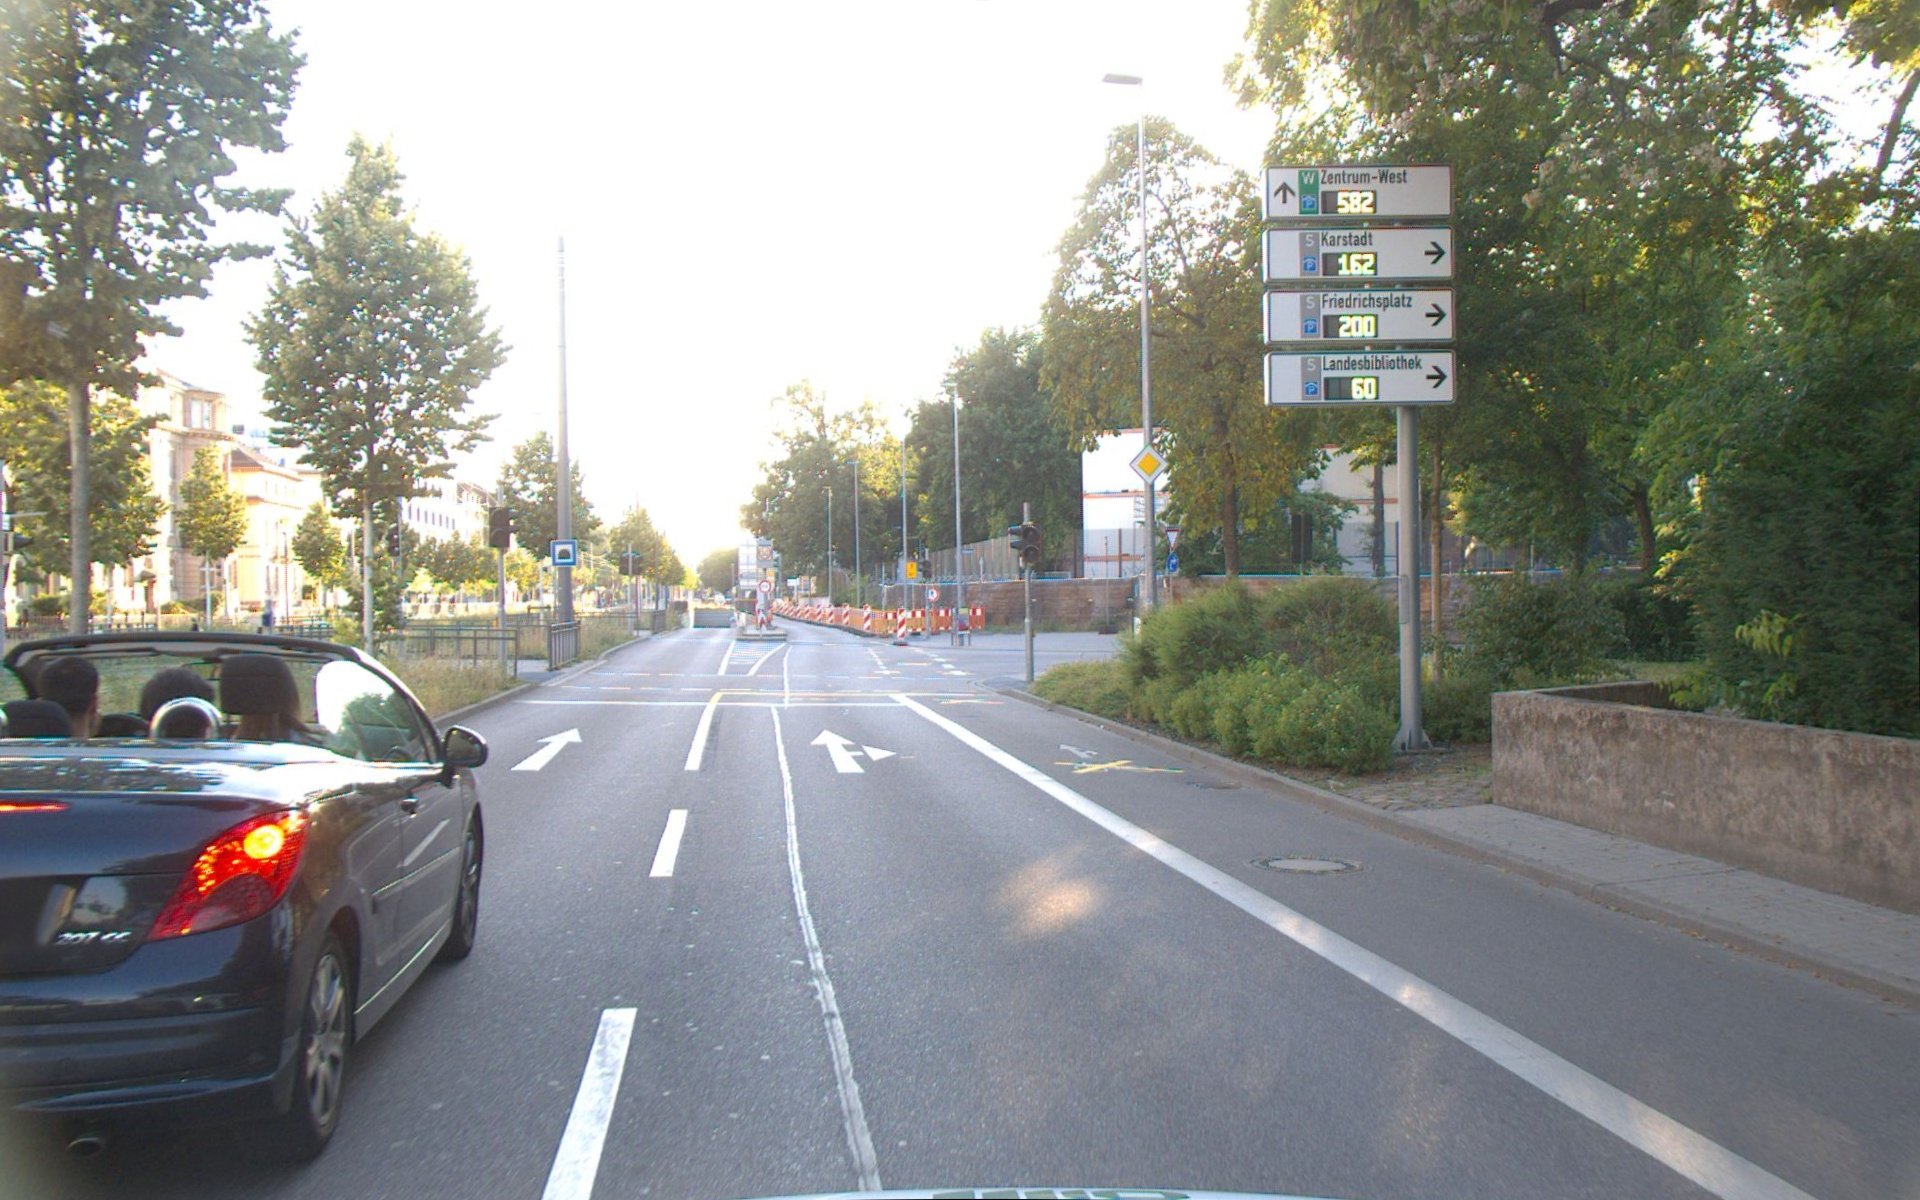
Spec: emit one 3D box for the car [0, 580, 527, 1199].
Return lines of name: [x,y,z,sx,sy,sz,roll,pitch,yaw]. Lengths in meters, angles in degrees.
car: [-2.567,0.685,5.494,1.686,1.475,3.895,0,1,-7]
